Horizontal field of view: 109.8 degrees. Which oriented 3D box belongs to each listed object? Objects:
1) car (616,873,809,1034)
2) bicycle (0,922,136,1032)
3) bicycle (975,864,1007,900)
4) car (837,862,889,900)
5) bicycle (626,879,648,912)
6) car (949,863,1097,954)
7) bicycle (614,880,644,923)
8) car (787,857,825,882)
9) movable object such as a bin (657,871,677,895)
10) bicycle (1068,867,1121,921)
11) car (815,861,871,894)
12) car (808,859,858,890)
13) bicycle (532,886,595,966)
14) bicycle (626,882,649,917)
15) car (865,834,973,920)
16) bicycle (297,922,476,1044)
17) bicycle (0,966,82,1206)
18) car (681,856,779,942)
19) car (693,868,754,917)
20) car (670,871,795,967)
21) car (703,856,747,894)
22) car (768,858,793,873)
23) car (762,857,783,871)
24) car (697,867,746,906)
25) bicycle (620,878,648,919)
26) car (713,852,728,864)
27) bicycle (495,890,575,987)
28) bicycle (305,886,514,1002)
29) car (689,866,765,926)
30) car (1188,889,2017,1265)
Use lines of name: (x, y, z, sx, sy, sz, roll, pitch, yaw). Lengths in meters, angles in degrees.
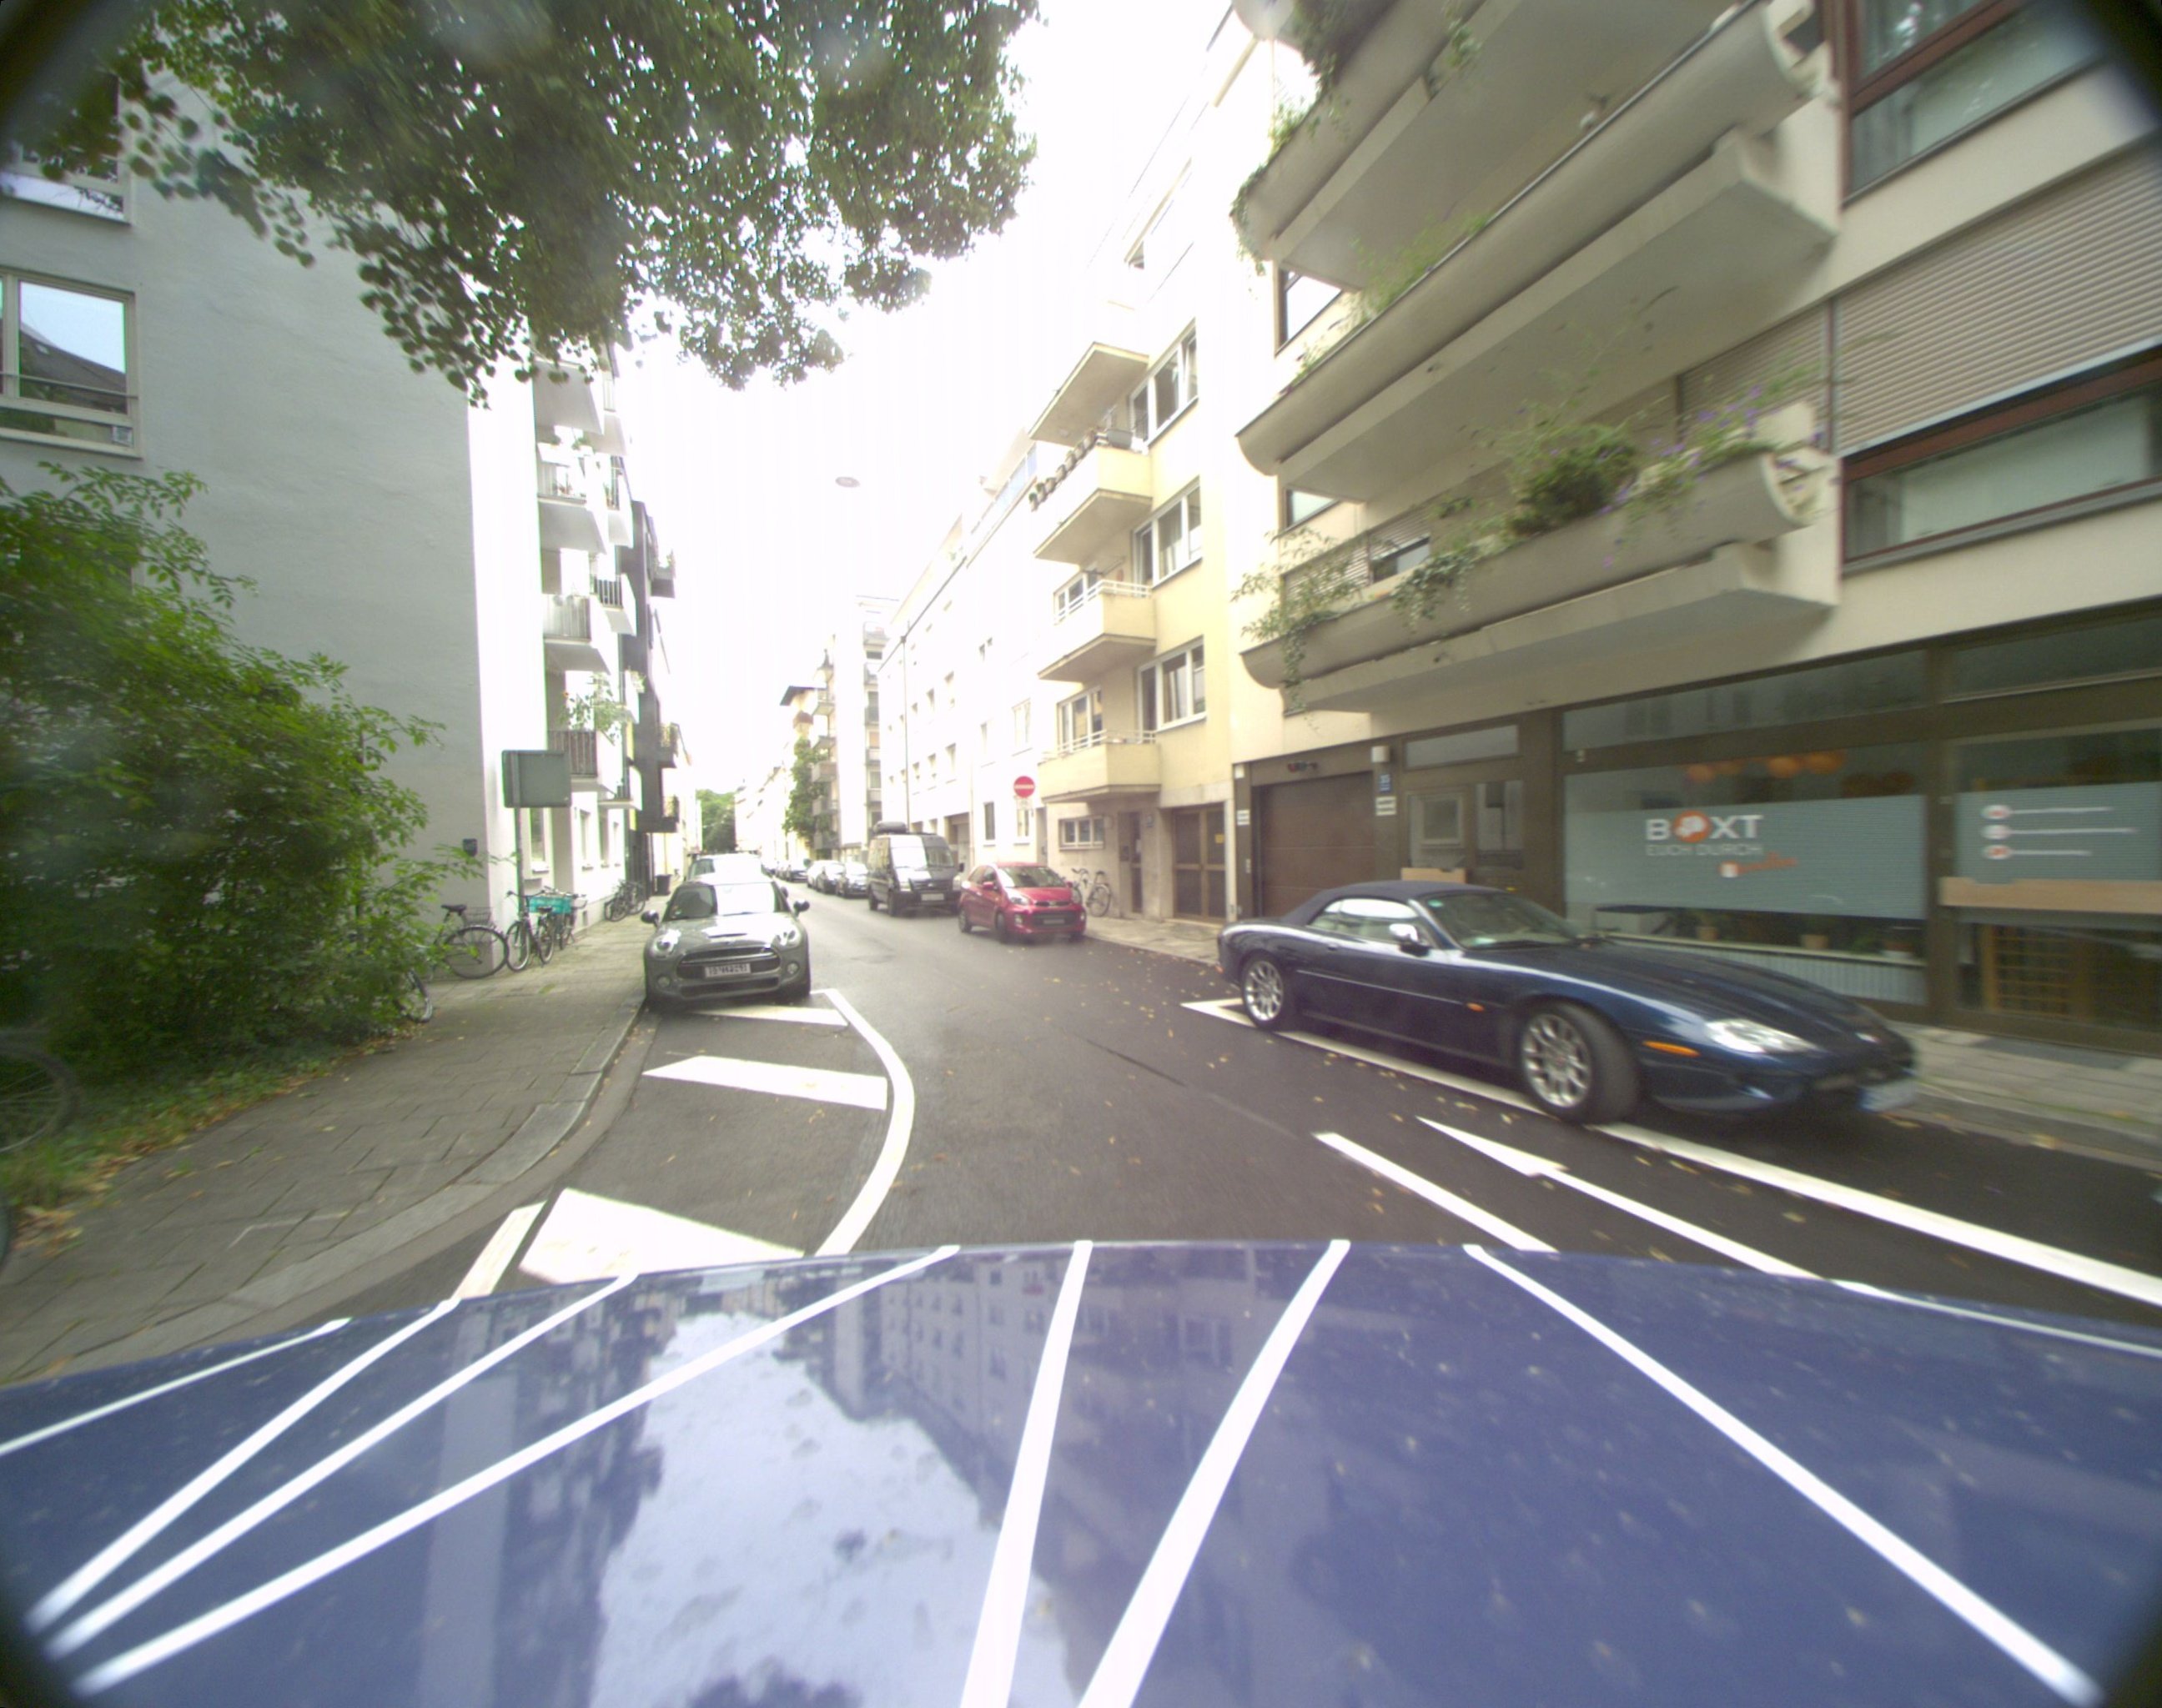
car: (-4.562, 1.031, 9.630, 1.751, 1.432, 3.992, -2, 1, -24)
bicycle: (-11.191, 1.298, 7.822, 1.704, 1.017, 0.538, -3, 1, -32)
bicycle: (-3.007, 0.912, 25.250, 0.465, 1.091, 1.866, -3, 1, -24)
car: (-9.313, 1.097, 32.267, 1.619, 1.438, 3.735, 1, 0, -24)
bicycle: (-14.955, 1.386, 25.603, 0.479, 1.042, 1.518, -3, 1, -26)
car: (-1.273, 0.958, 15.092, 1.627, 1.488, 3.701, -2, 1, -26)
bicycle: (-13.007, 1.346, 21.897, 0.573, 1.144, 1.427, -3, 1, -26)
car: (-19.109, 1.017, 52.691, 1.976, 1.598, 4.530, -2, 1, -26)
movable object such as a bin: (-20.351, 1.420, 37.326, 0.799, 1.133, 0.572, -2, 2, -27)
bicycle: (0.289, 0.894, 17.471, 0.469, 1.142, 1.756, -3, 1, -25)
car: (-11.438, 1.067, 36.316, 1.809, 1.409, 4.217, -2, 1, -27)
car: (-13.451, 1.058, 40.989, 1.921, 1.429, 4.798, -2, 1, -26)
bicycle: (-9.074, 1.210, 13.392, 0.626, 1.213, 2.243, -3, 1, -28)
bicycle: (-14.136, 1.440, 24.240, 0.479, 0.997, 1.549, -3, 1, -26)
car: (-5.011, 0.598, 22.807, 2.027, 2.265, 5.379, 0, 0, -25)
bicycle: (-6.630, 1.204, 7.252, 1.632, 1.050, 0.452, -2, 1, 17)
bicycle: (-5.798, 1.146, 3.295, 1.638, 1.050, 0.604, -3, 1, -40)
car: (-8.705, 0.968, 18.811, 1.883, 1.781, 4.771, -2, 1, -26)
car: (-13.344, 1.356, 28.246, 1.767, 1.423, 4.251, -5, 3, -27)
car: (-6.634, 1.088, 14.394, 1.841, 1.411, 4.049, -2, 1, -26)
car: (-19.923, 1.092, 42.443, 1.991, 1.829, 5.172, -4, 2, -26)
car: (-29.870, 1.139, 75.548, 1.976, 1.369, 4.287, -2, 1, -26)
car: (-34.658, 1.126, 85.386, 1.899, 1.444, 4.287, -2, 1, -26)
car: (-15.449, 1.332, 32.593, 1.742, 1.421, 4.193, -2, 1, -27)
bicycle: (-13.734, 1.342, 23.360, 0.573, 1.144, 1.560, -3, 1, -26)
car: (-52.380, 0.569, 110.288, 1.899, 1.621, 4.287, -2, 1, -26)
bicycle: (-8.095, 1.199, 11.332, 0.562, 1.213, 1.914, -3, 1, -25)
bicycle: (-8.347, 1.076, 9.562, 1.856, 1.223, 0.577, -3, 1, -33)
car: (-11.112, 1.208, 23.826, 1.914, 1.545, 4.615, -2, 1, -26)
car: (2.809, 0.985, 5.434, 1.805, 1.270, 4.607, 0, 0, -26)
